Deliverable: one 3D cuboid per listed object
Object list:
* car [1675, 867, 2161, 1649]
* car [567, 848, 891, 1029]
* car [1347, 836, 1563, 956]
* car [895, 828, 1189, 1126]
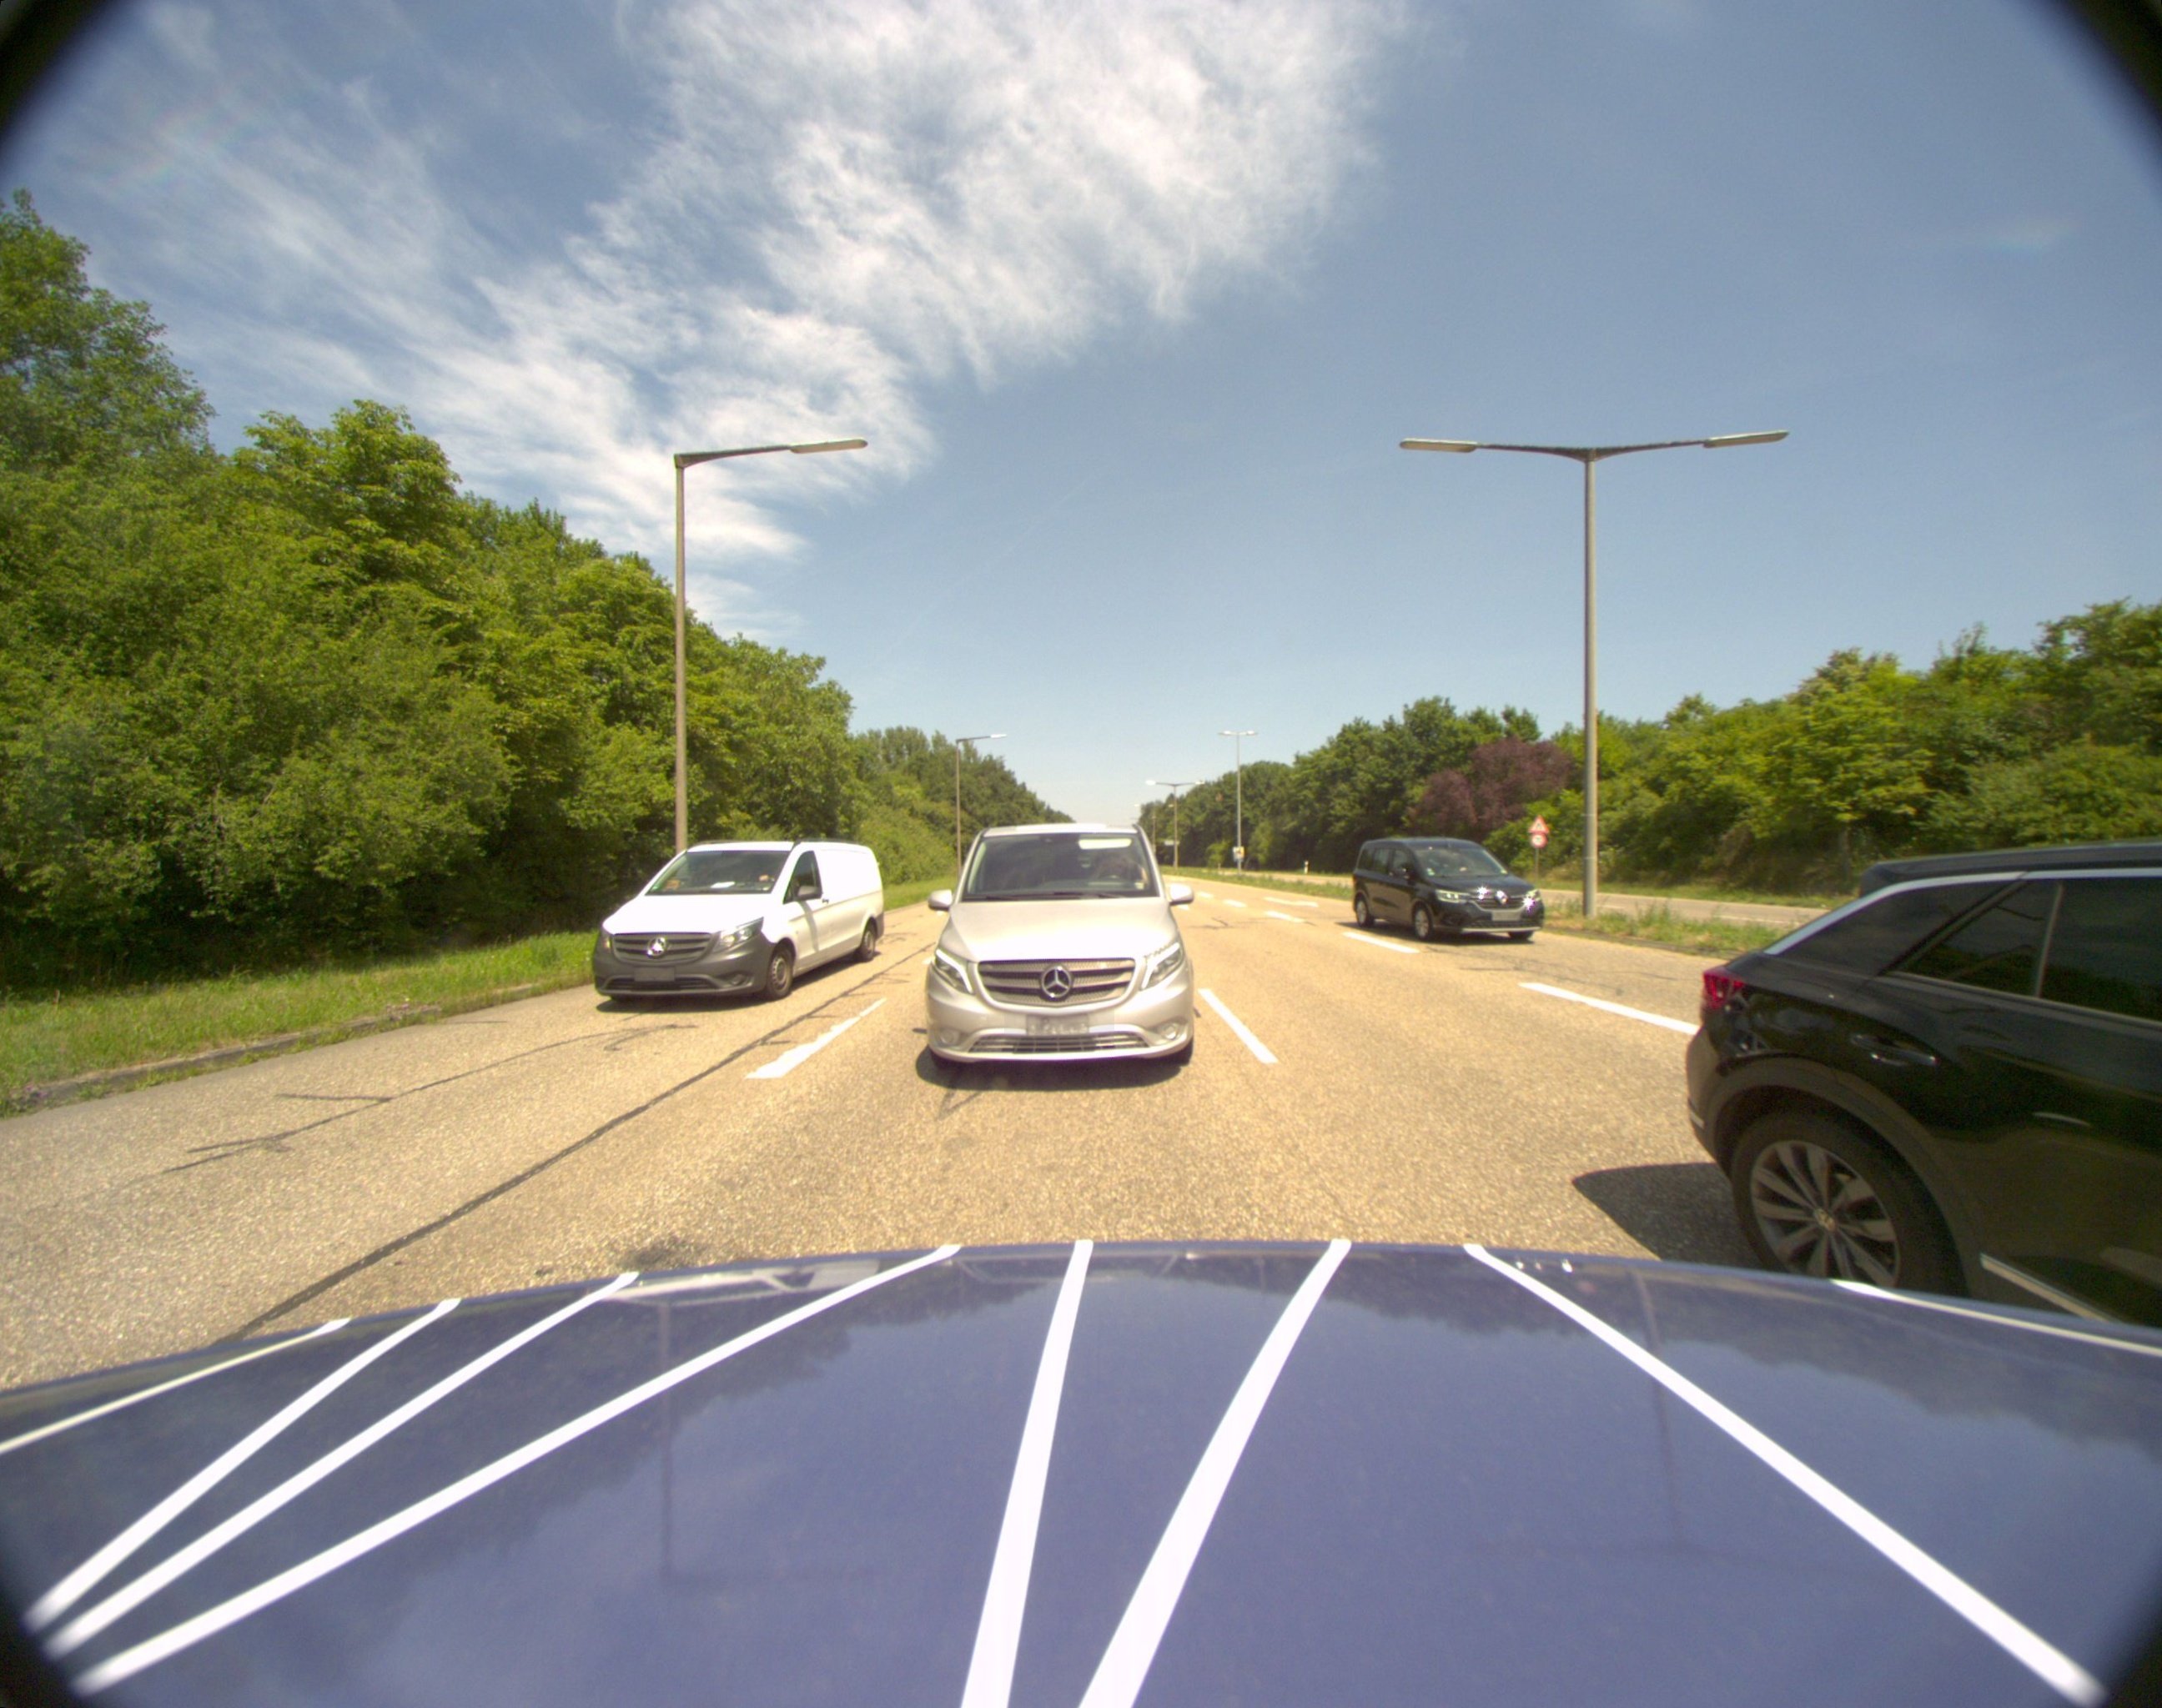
[{"bbox_3d":[3.043,0.852,0.805,1.739,1.503,3.970,-2,1,1],"label":"car"},{"bbox_3d":[-4.167,0.862,10.118,1.864,1.807,4.909,-1,0,2],"label":"car"},{"bbox_3d":[6.529,0.649,13.864,1.736,1.815,4.321,-1,0,-1],"label":"car"},{"bbox_3d":[-0.207,0.766,7.146,1.764,1.794,4.855,-2,0,1],"label":"car"}]
